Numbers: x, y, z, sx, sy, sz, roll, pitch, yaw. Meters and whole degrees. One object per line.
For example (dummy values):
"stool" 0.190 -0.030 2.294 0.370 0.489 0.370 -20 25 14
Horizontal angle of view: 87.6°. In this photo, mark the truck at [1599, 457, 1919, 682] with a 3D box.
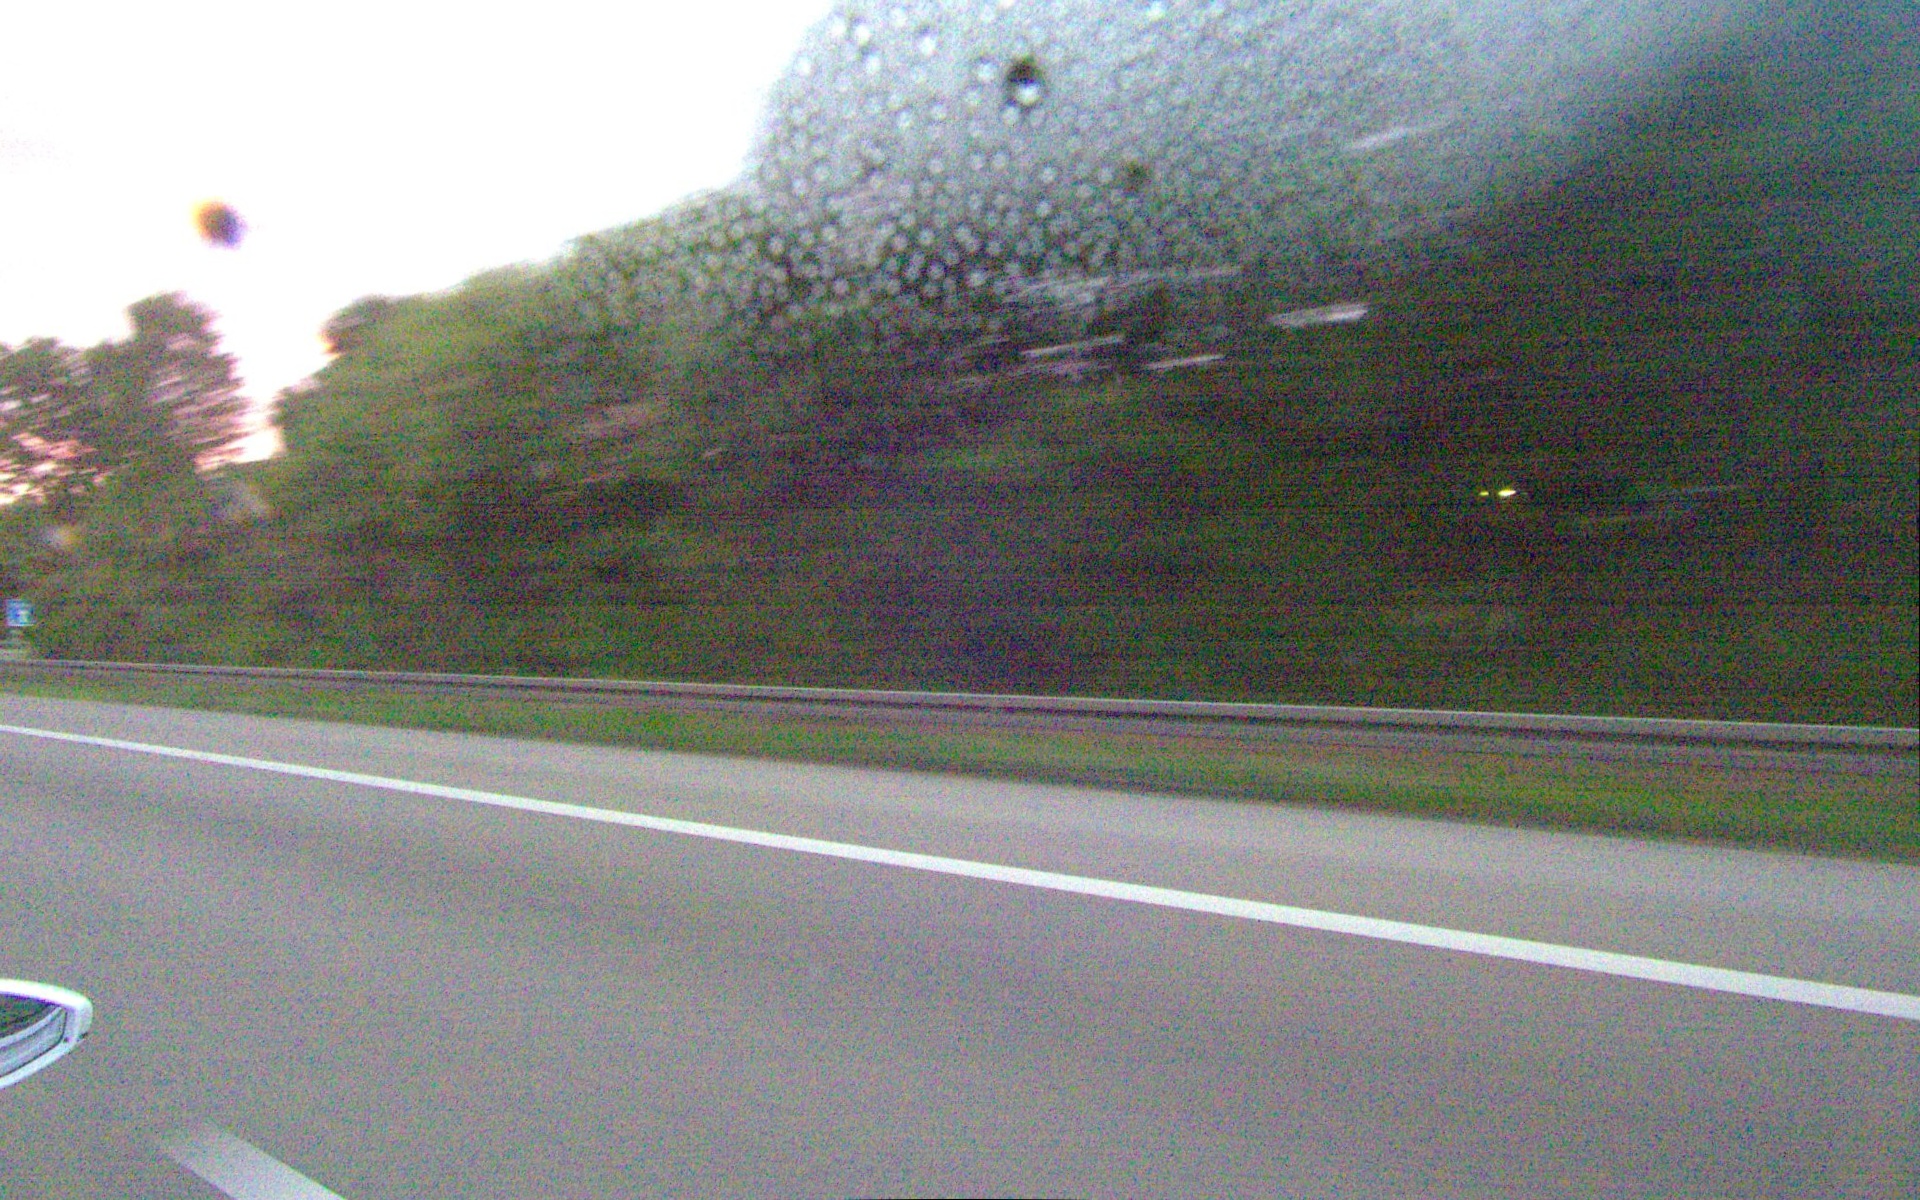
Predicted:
"truck" 18.901 -0.567 18.398 11.806 3.968 3.349 -1 0 29

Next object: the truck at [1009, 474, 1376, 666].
"truck" 6.012 -0.593 26.149 8.678 4.285 3.769 -1 0 28

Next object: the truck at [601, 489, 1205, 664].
"truck" -2.580 -0.405 30.657 19.222 4.285 3.771 -1 0 28

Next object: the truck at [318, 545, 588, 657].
"truck" -20.098 0.135 39.390 11.796 3.968 2.838 -1 0 26
